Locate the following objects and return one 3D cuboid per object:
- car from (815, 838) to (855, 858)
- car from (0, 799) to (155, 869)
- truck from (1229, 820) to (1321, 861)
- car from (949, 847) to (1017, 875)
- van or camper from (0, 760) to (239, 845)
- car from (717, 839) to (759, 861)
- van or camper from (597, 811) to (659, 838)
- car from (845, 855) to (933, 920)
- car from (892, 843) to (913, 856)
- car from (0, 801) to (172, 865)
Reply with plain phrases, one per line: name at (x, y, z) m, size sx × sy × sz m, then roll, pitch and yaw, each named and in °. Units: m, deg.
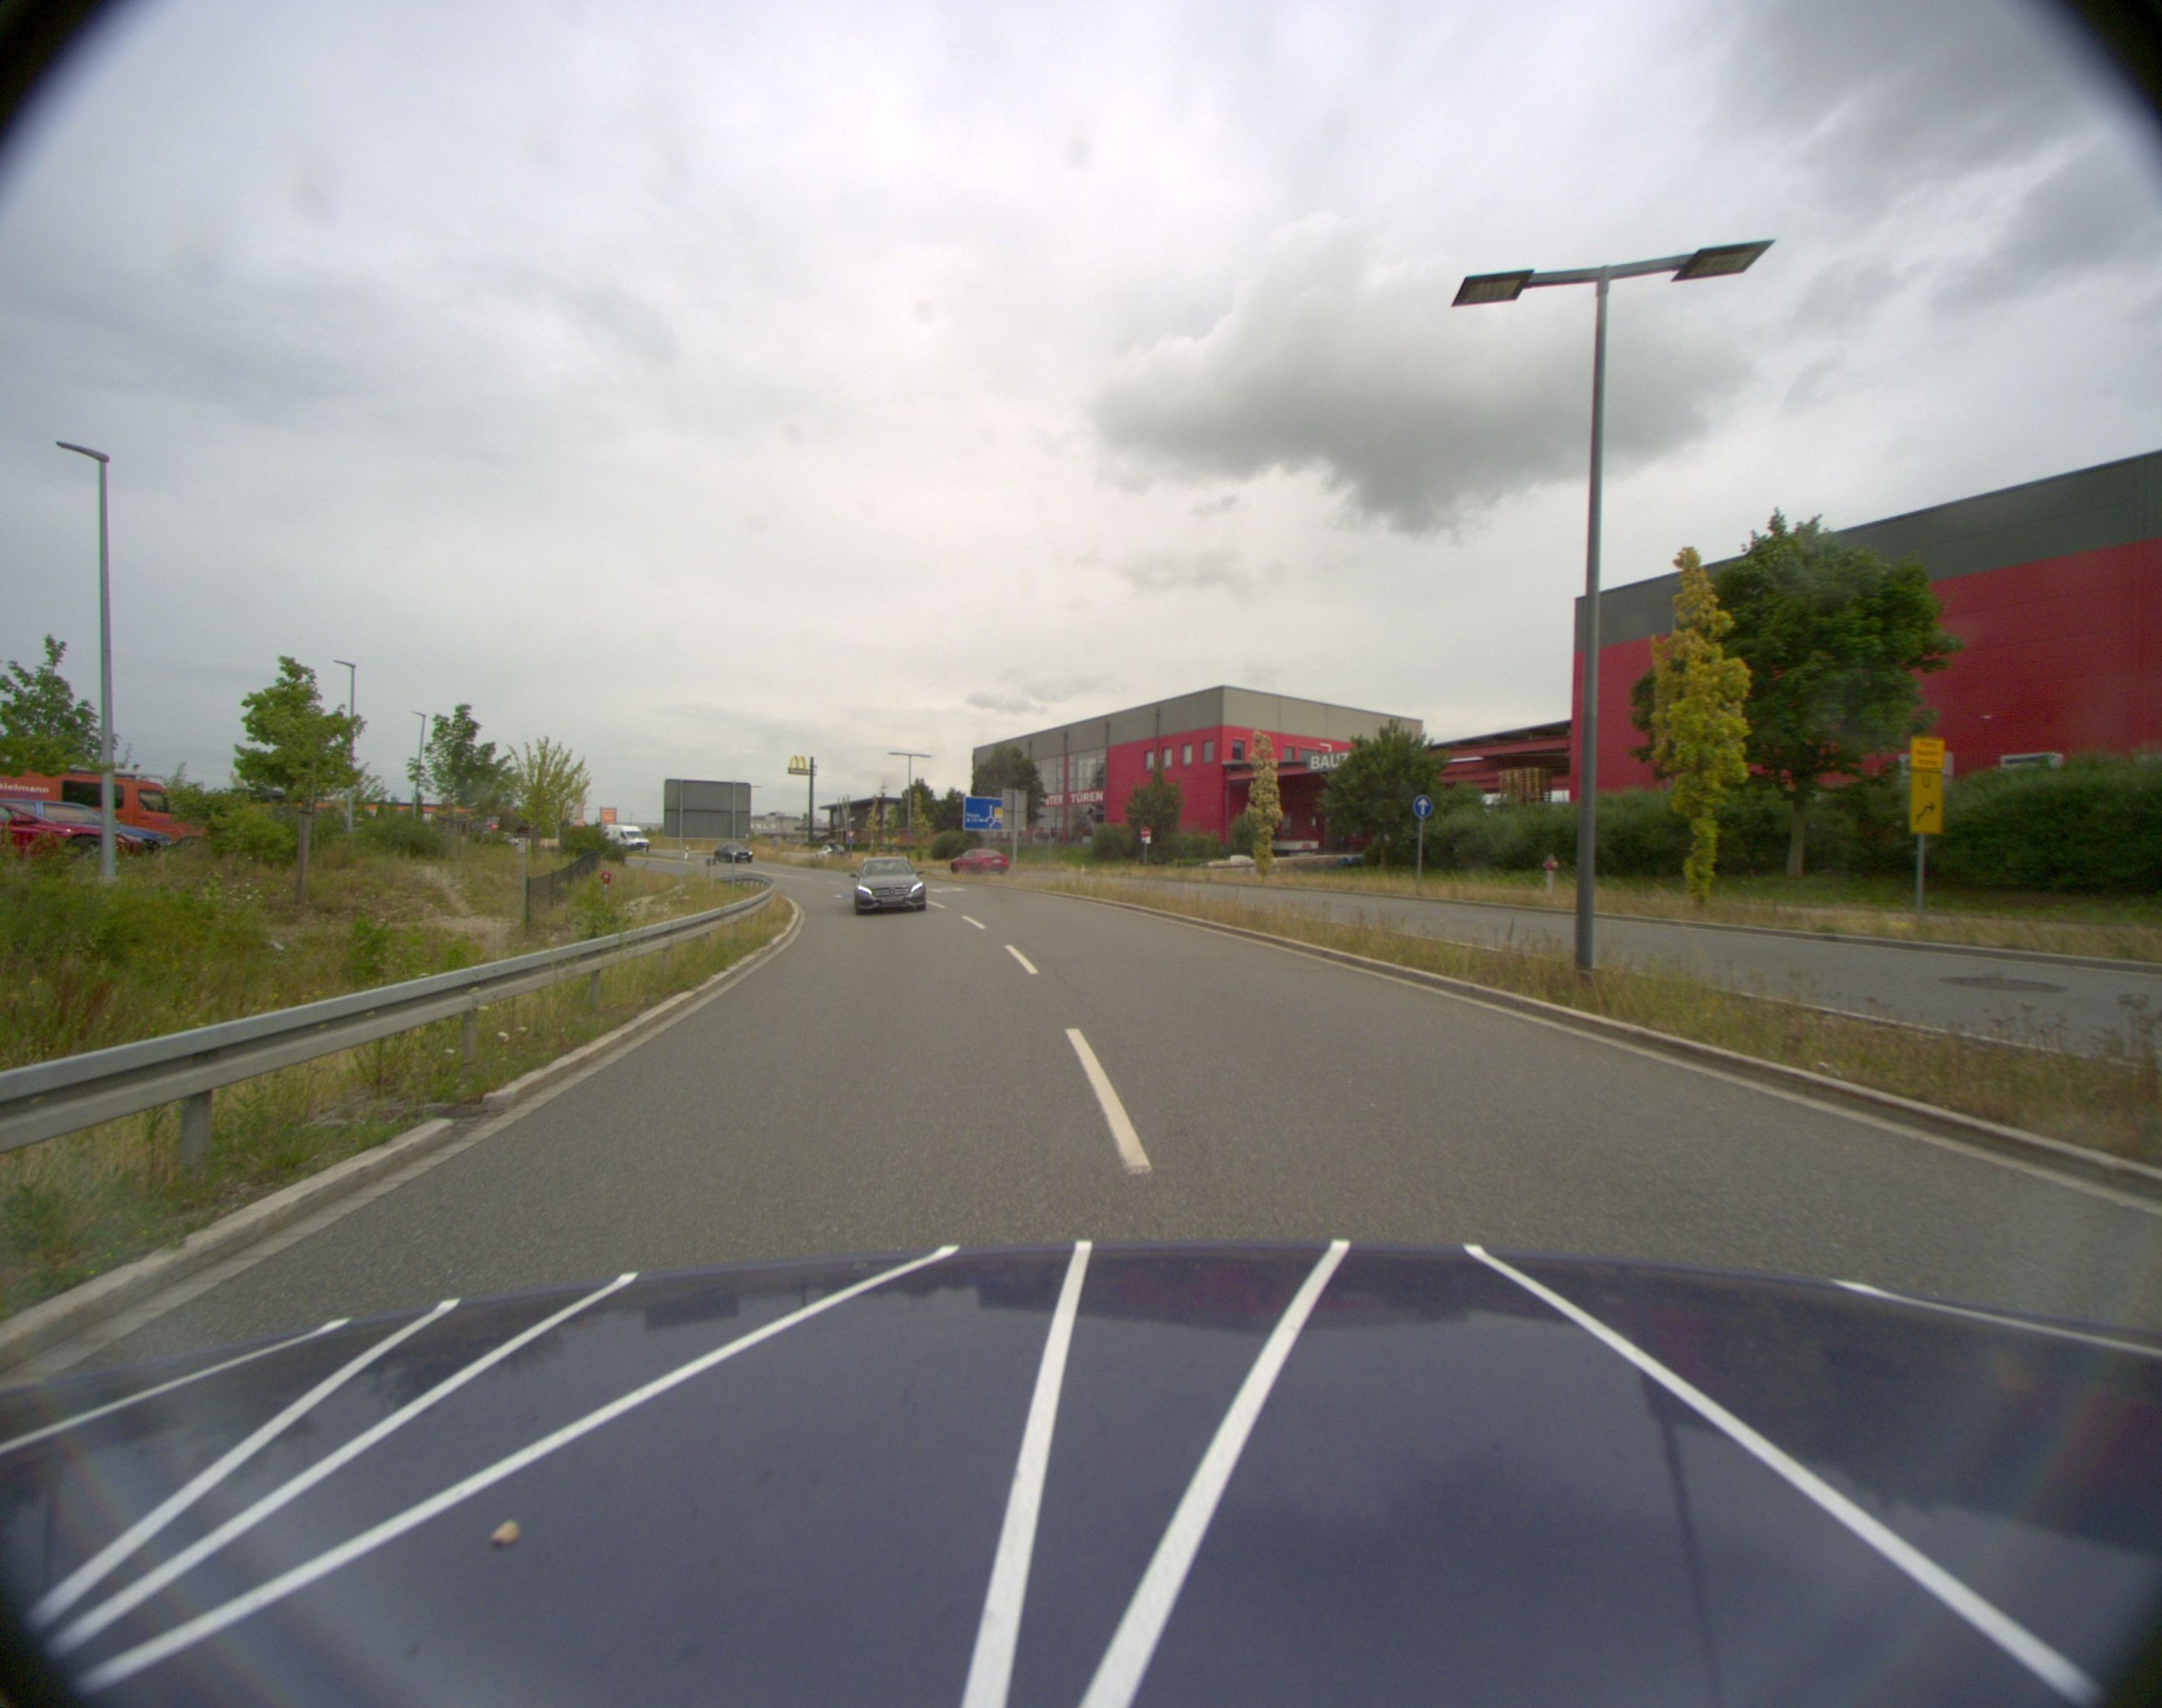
car at (-21.334, -0.522, 65.856) m, size 1.918 × 1.617 × 4.625 m, roll -4°, pitch 2°, yaw -35°
car at (-22.510, -0.420, 15.373) m, size 1.699 × 1.392 × 4.598 m, roll 2°, pitch 2°, yaw 32°
truck at (12.212, -0.852, 48.323) m, size 2.043 × 2.473 × 5.892 m, roll -2°, pitch 2°, yaw -32°
car at (-5.677, 0.363, 43.455) m, size 1.800 × 1.439 × 4.959 m, roll -4°, pitch 2°, yaw -33°
van or camper at (-26.000, -1.249, 20.053) m, size 1.810 × 1.985 × 4.681 m, roll 0°, pitch 1°, yaw 16°
car at (-29.158, -0.353, 64.539) m, size 3.988 × 1.710 × 1.847 m, roll 0°, pitch 3°, yaw 43°
van or camper at (-45.402, -2.936, 76.164) m, size 6.028 × 2.635 × 2.338 m, roll 1°, pitch 2°, yaw 26°
car at (-5.482, 0.843, 21.353) m, size 1.909 × 1.489 × 4.331 m, roll -3°, pitch 2°, yaw -20°
car at (-25.867, -0.663, 110.031) m, size 1.894 × 1.650 × 4.018 m, roll 1°, pitch 2°, yaw 4°
car at (-24.139, -0.479, 17.884) m, size 1.496 × 1.373 × 3.315 m, roll 2°, pitch -1°, yaw 32°
